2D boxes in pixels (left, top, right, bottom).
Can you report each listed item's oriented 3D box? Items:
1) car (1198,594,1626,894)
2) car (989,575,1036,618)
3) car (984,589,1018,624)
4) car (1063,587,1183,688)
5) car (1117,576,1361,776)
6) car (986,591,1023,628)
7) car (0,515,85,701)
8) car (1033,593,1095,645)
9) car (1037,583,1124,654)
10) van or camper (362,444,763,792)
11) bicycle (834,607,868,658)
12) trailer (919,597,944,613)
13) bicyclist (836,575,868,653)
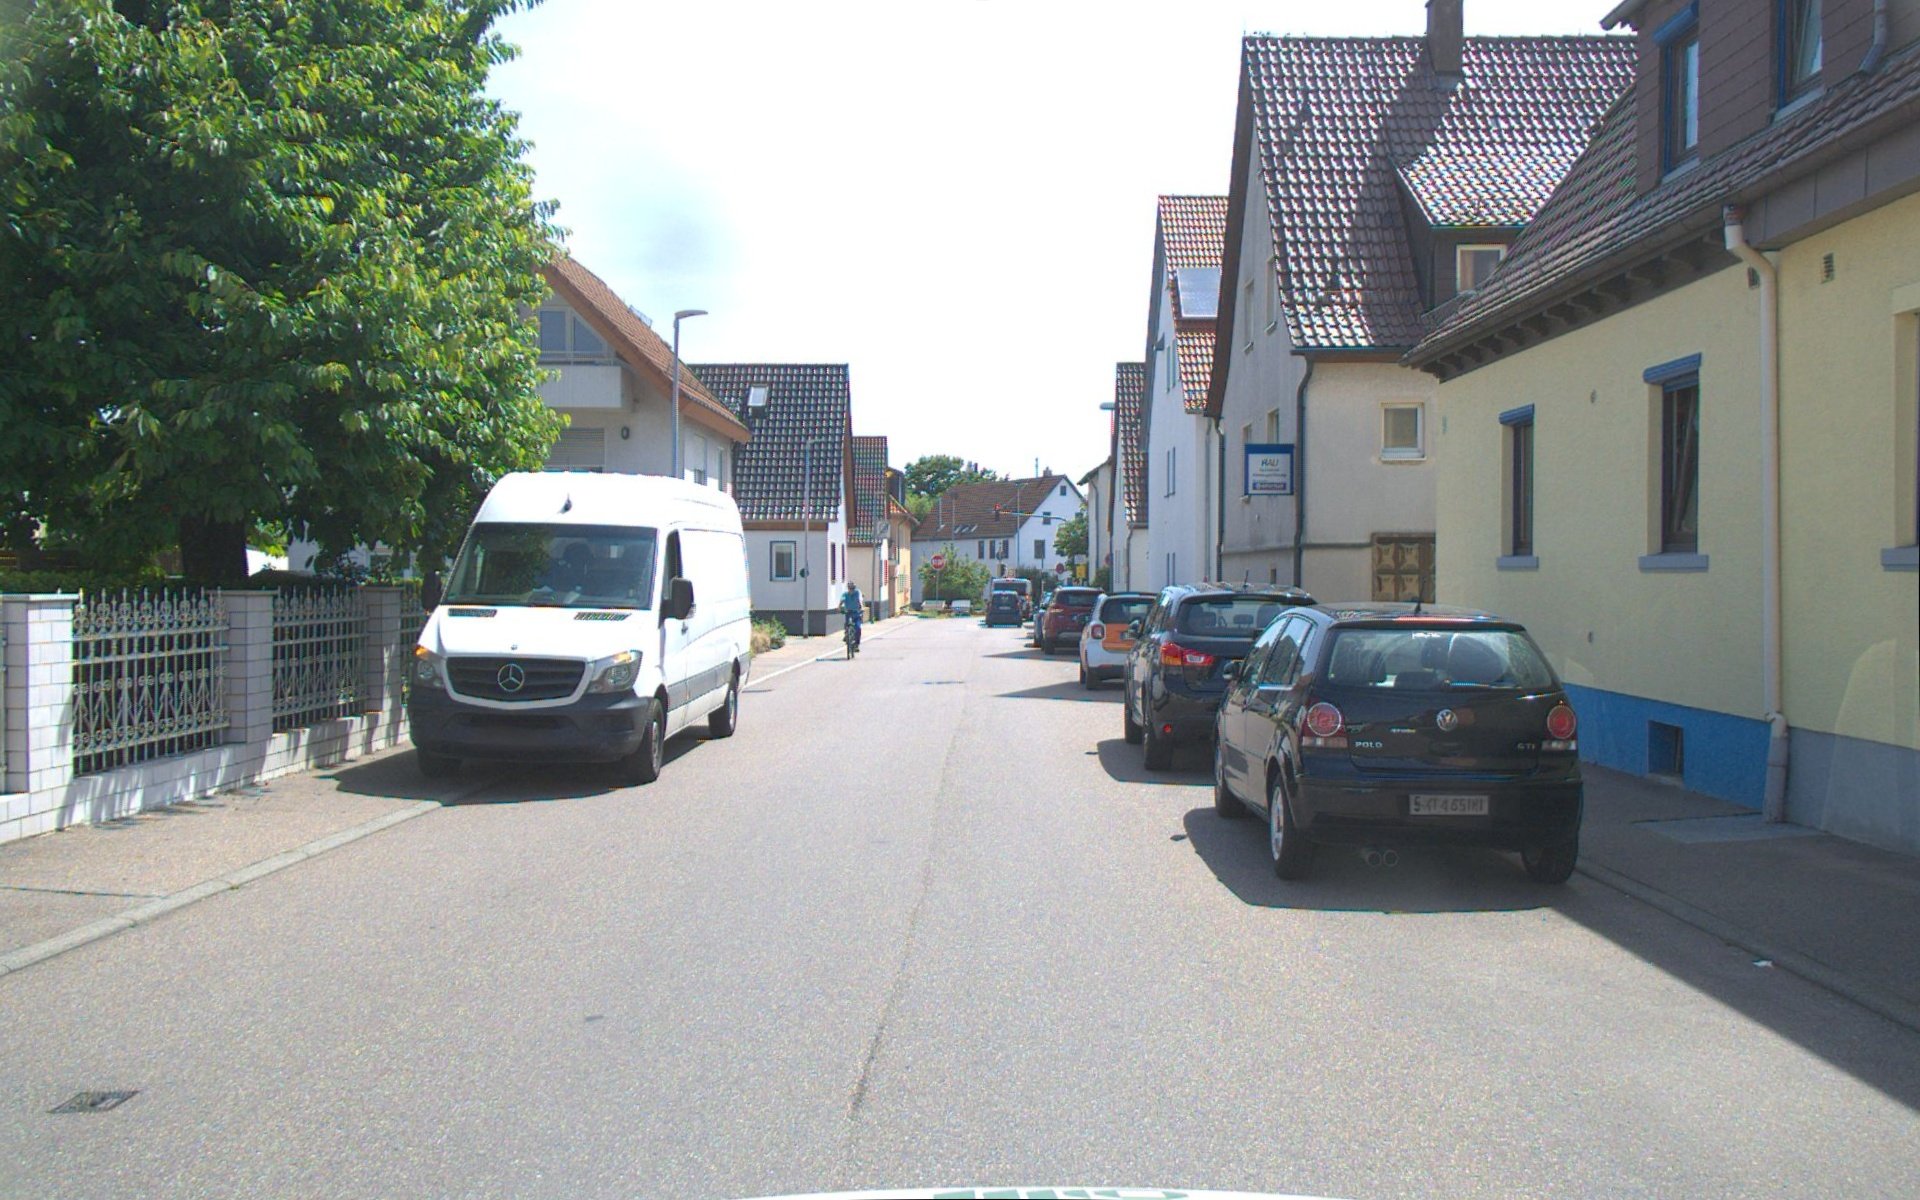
[{"bbox_3d":[2.519,0.710,10.099,1.578,1.456,3.754,1,0,0],"label":"car"},{"bbox_3d":[2.819,-0.196,88.018,2.083,2.196,4.740,0,0,7],"label":"car"},{"bbox_3d":[1.980,0.285,78.973,1.484,1.653,3.186,0,0,4],"label":"car"},{"bbox_3d":[2.677,0.580,27.680,1.639,1.586,3.040,1,0,-1],"label":"car"},{"bbox_3d":[2.497,0.610,15.740,1.693,1.627,4.254,1,0,1],"label":"car"},{"bbox_3d":[1.989,0.405,73.736,1.484,1.594,3.186,0,0,4],"label":"car"},{"bbox_3d":[-15.322,0.118,23.482,4.705,2.536,1.965,0,0,-1],"label":"car"},{"bbox_3d":[3.037,0.514,48.898,1.726,1.448,4.593,0,0,2],"label":"car"},{"bbox_3d":[3.049,0.431,42.609,1.837,1.730,4.182,1,0,-1],"label":"car"},{"bbox_3d":[-3.437,0.111,16.010,2.139,2.616,6.808,1,0,1],"label":"van or camper"},{"bbox_3d":[-2.581,0.759,39.370,0.656,1.152,2.189,0,0,0],"label":"bicycle"},{"bbox_3d":[-1.775,0.336,103.732,1.470,0.943,1.012,2,0,2],"label":"trailer"},{"bbox_3d":[-2.552,0.333,39.284,0.698,1.830,0.942,0,0,-1],"label":"bicyclist"}]
